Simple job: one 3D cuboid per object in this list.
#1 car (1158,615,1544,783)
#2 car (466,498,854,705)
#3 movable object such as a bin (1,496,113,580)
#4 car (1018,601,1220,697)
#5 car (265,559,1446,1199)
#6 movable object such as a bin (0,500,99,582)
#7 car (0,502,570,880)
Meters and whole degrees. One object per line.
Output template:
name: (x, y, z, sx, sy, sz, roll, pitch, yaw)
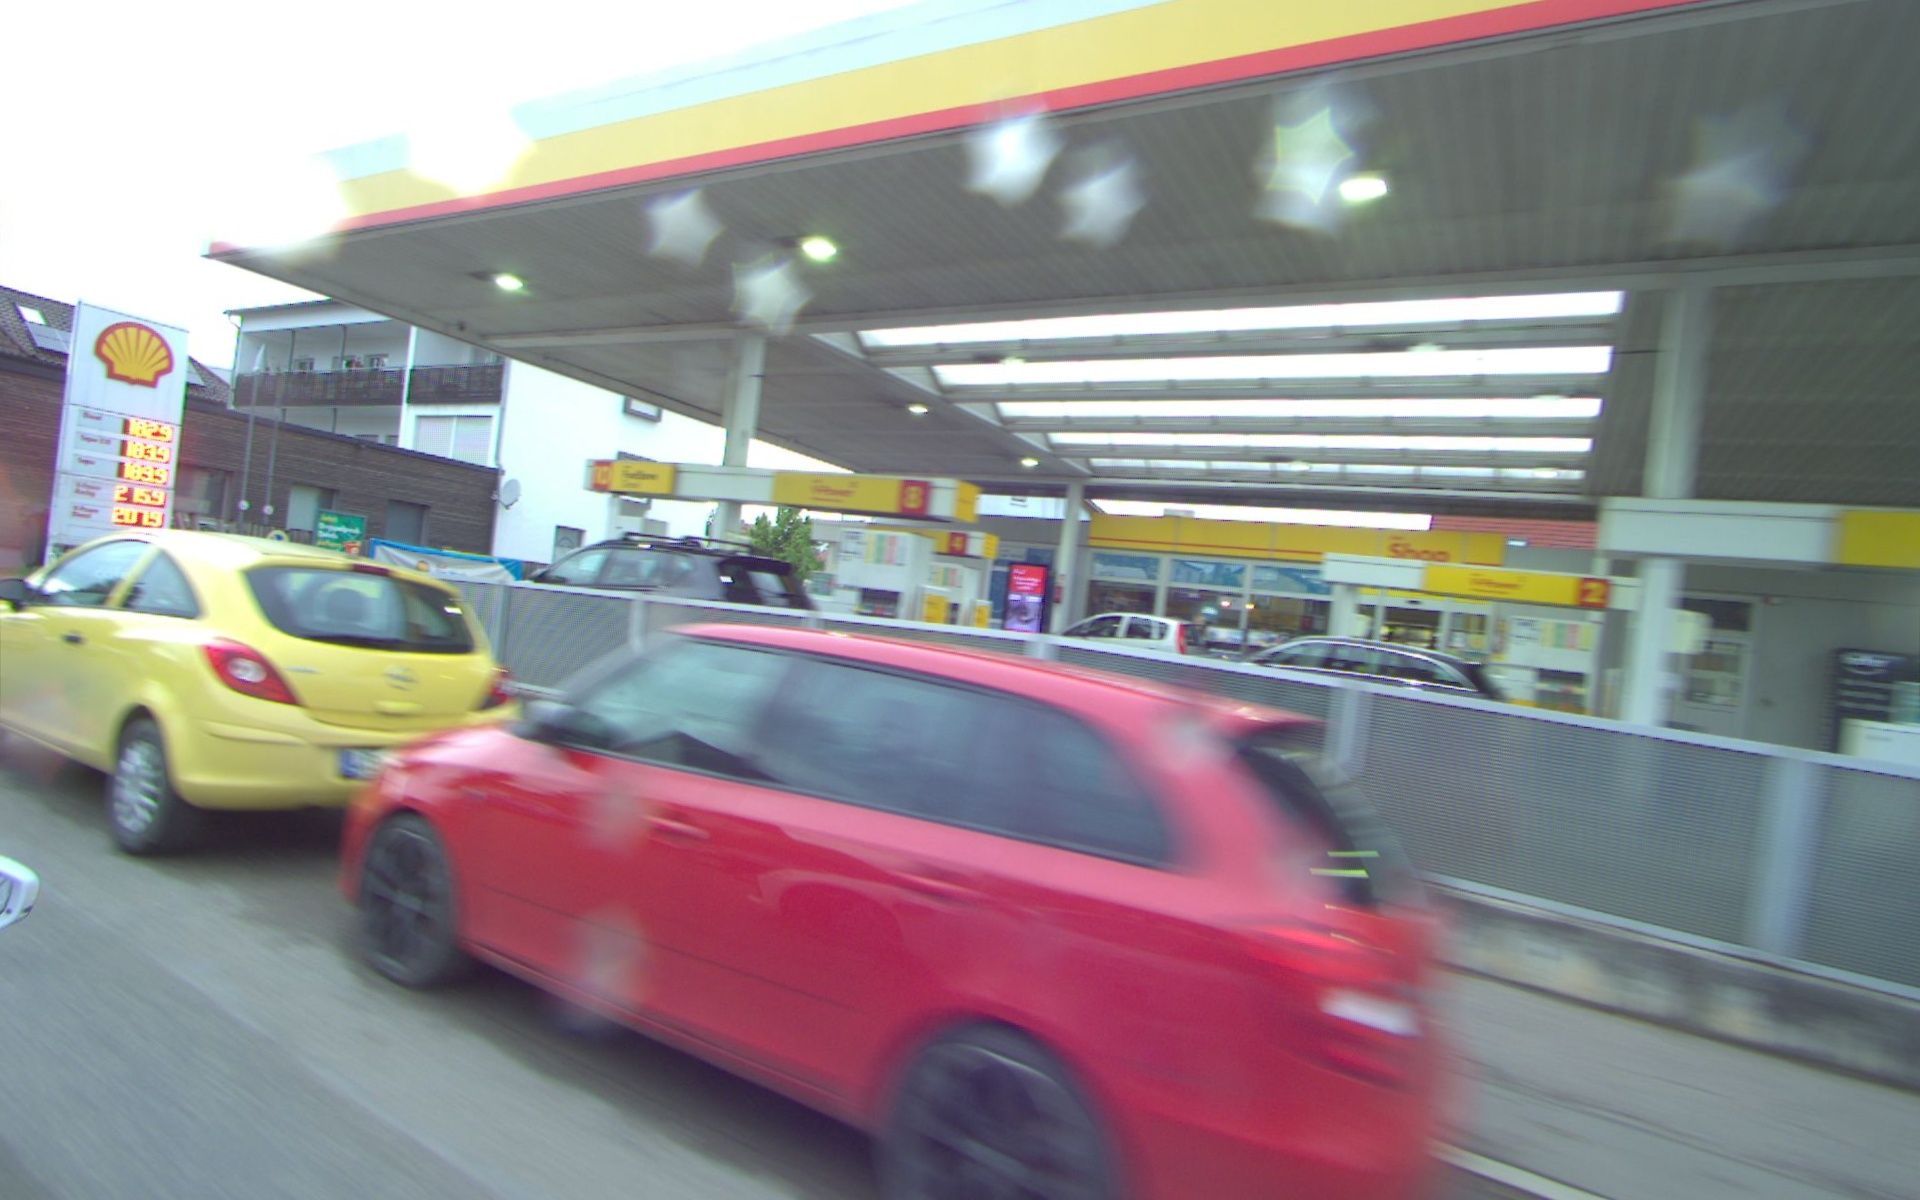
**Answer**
car: (5.297, 1.261, 13.853, 4.595, 1.483, 1.743, 7, -1, 31)
car: (-3.434, -0.011, 11.418, 3.931, 1.781, 1.823, 7, 0, 29)
movable object such as a bin: (-17.046, -1.163, 18.994, 1.361, 1.356, 1.104, 7, 0, 29)
car: (3.342, 1.023, 21.254, 3.716, 1.483, 1.743, 7, -1, 31)
car: (-0.557, 0.804, 3.665, 3.957, 1.393, 1.659, 7, -1, 31)
movable object such as a bin: (-17.912, -1.153, 19.691, 1.361, 1.356, 1.104, 7, 0, 29)
car: (-4.238, 0.328, 5.788, 3.738, 1.418, 1.659, 7, -1, 31)
